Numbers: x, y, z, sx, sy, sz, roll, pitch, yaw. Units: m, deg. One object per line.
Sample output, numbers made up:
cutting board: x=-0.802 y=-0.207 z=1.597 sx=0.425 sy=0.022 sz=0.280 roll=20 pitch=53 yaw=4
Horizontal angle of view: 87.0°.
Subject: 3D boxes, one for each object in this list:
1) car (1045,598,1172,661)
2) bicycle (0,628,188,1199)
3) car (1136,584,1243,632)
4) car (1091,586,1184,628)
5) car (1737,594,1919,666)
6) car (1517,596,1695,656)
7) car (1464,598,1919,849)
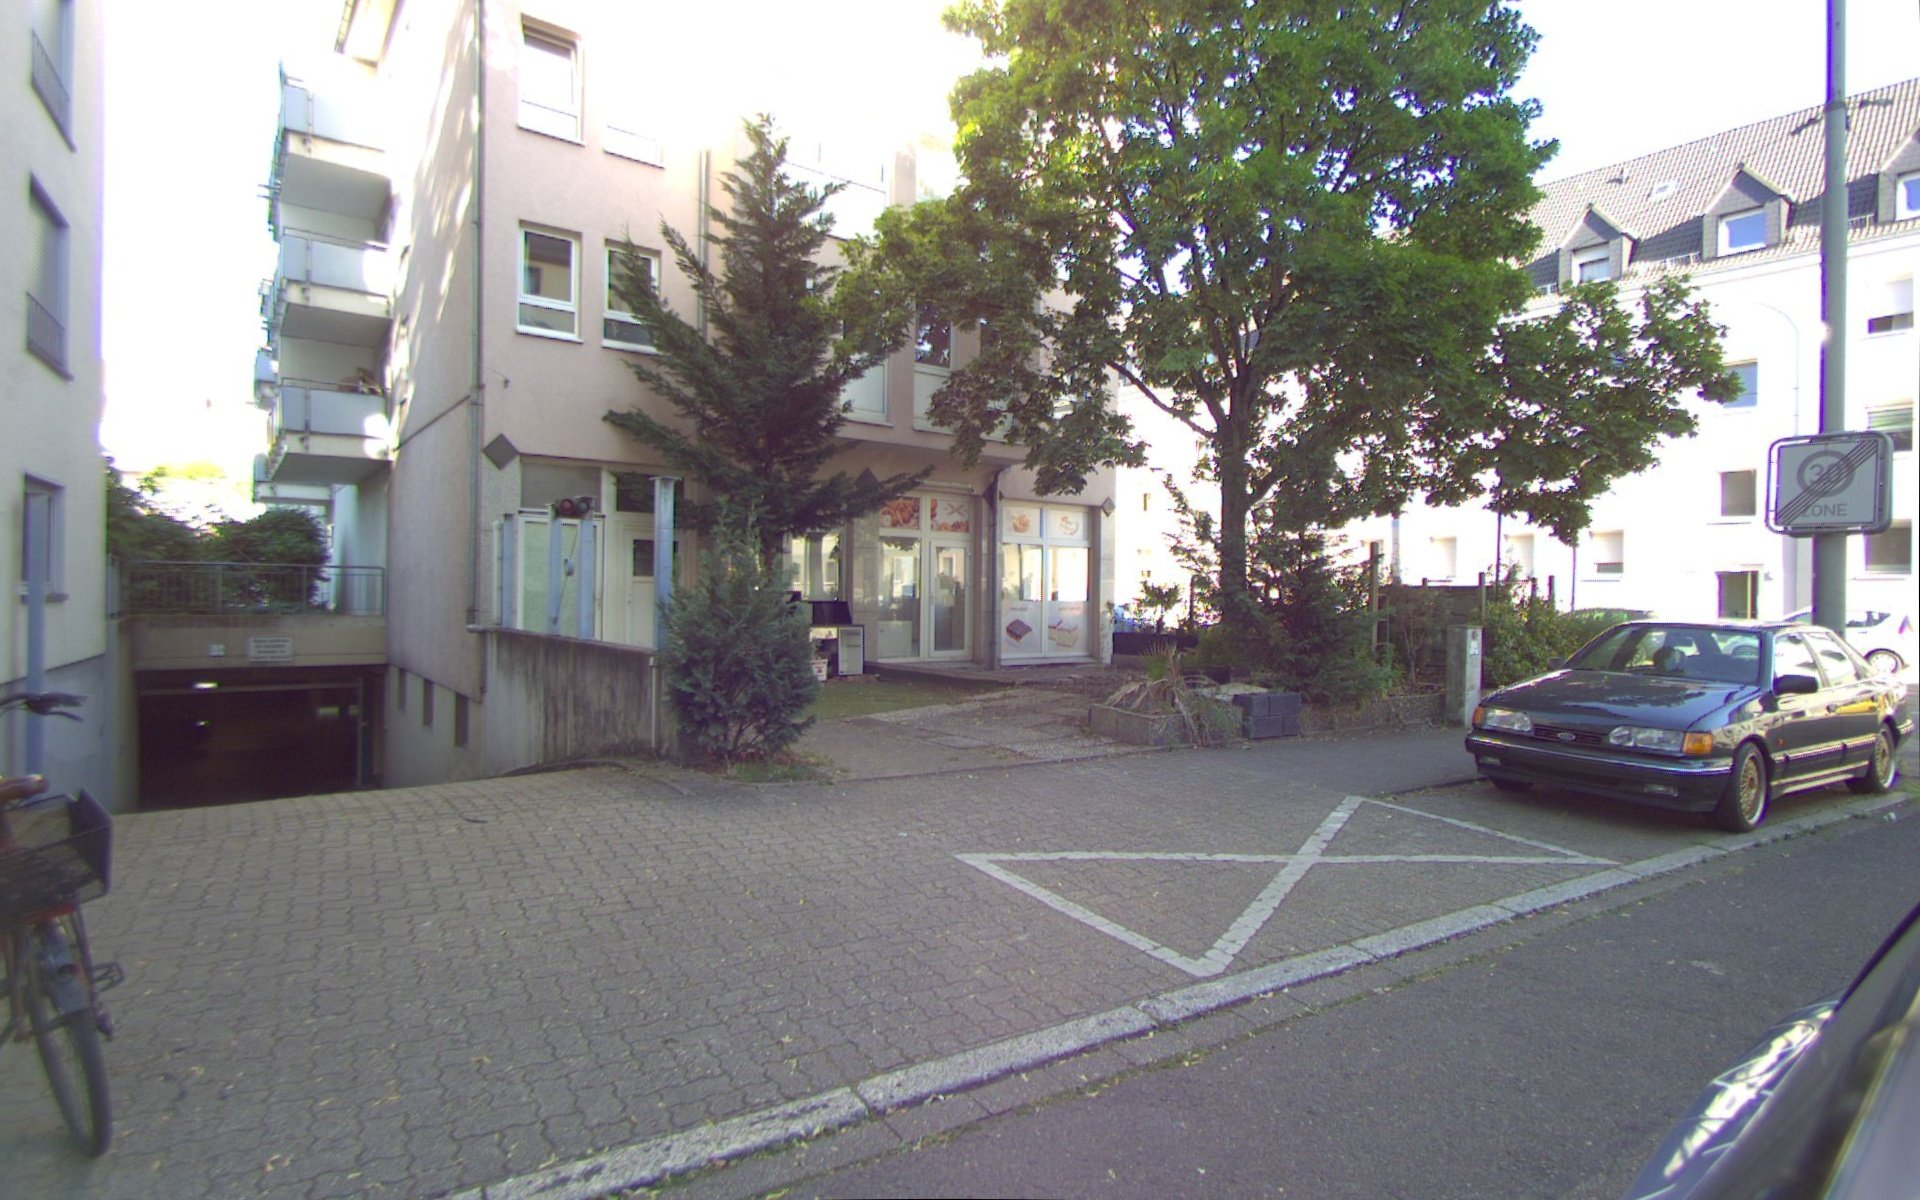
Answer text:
car: x=3.524 y=0.654 z=24.213 sx=1.242 sy=1.373 sz=2.874 roll=-1 pitch=1 yaw=-43
bicycle: x=-2.868 y=0.767 z=2.915 sx=1.967 sy=1.169 sz=0.740 roll=6 pitch=4 yaw=44
car: x=9.045 y=0.299 z=40.170 sx=1.663 sy=1.804 sz=3.997 roll=1 pitch=0 yaw=-38
car: x=7.809 y=0.290 z=44.748 sx=1.663 sy=1.804 sz=3.997 roll=1 pitch=0 yaw=-38
car: x=21.253 y=0.680 z=24.419 sx=1.620 sy=1.627 sz=3.702 roll=0 pitch=0 yaw=-39
car: x=18.100 y=0.770 z=28.499 sx=1.620 sy=1.527 sz=3.871 roll=0 pitch=-3 yaw=-39
car: x=6.104 y=0.761 z=8.052 sx=4.419 sy=1.424 sz=1.668 roll=0 pitch=3 yaw=-33
